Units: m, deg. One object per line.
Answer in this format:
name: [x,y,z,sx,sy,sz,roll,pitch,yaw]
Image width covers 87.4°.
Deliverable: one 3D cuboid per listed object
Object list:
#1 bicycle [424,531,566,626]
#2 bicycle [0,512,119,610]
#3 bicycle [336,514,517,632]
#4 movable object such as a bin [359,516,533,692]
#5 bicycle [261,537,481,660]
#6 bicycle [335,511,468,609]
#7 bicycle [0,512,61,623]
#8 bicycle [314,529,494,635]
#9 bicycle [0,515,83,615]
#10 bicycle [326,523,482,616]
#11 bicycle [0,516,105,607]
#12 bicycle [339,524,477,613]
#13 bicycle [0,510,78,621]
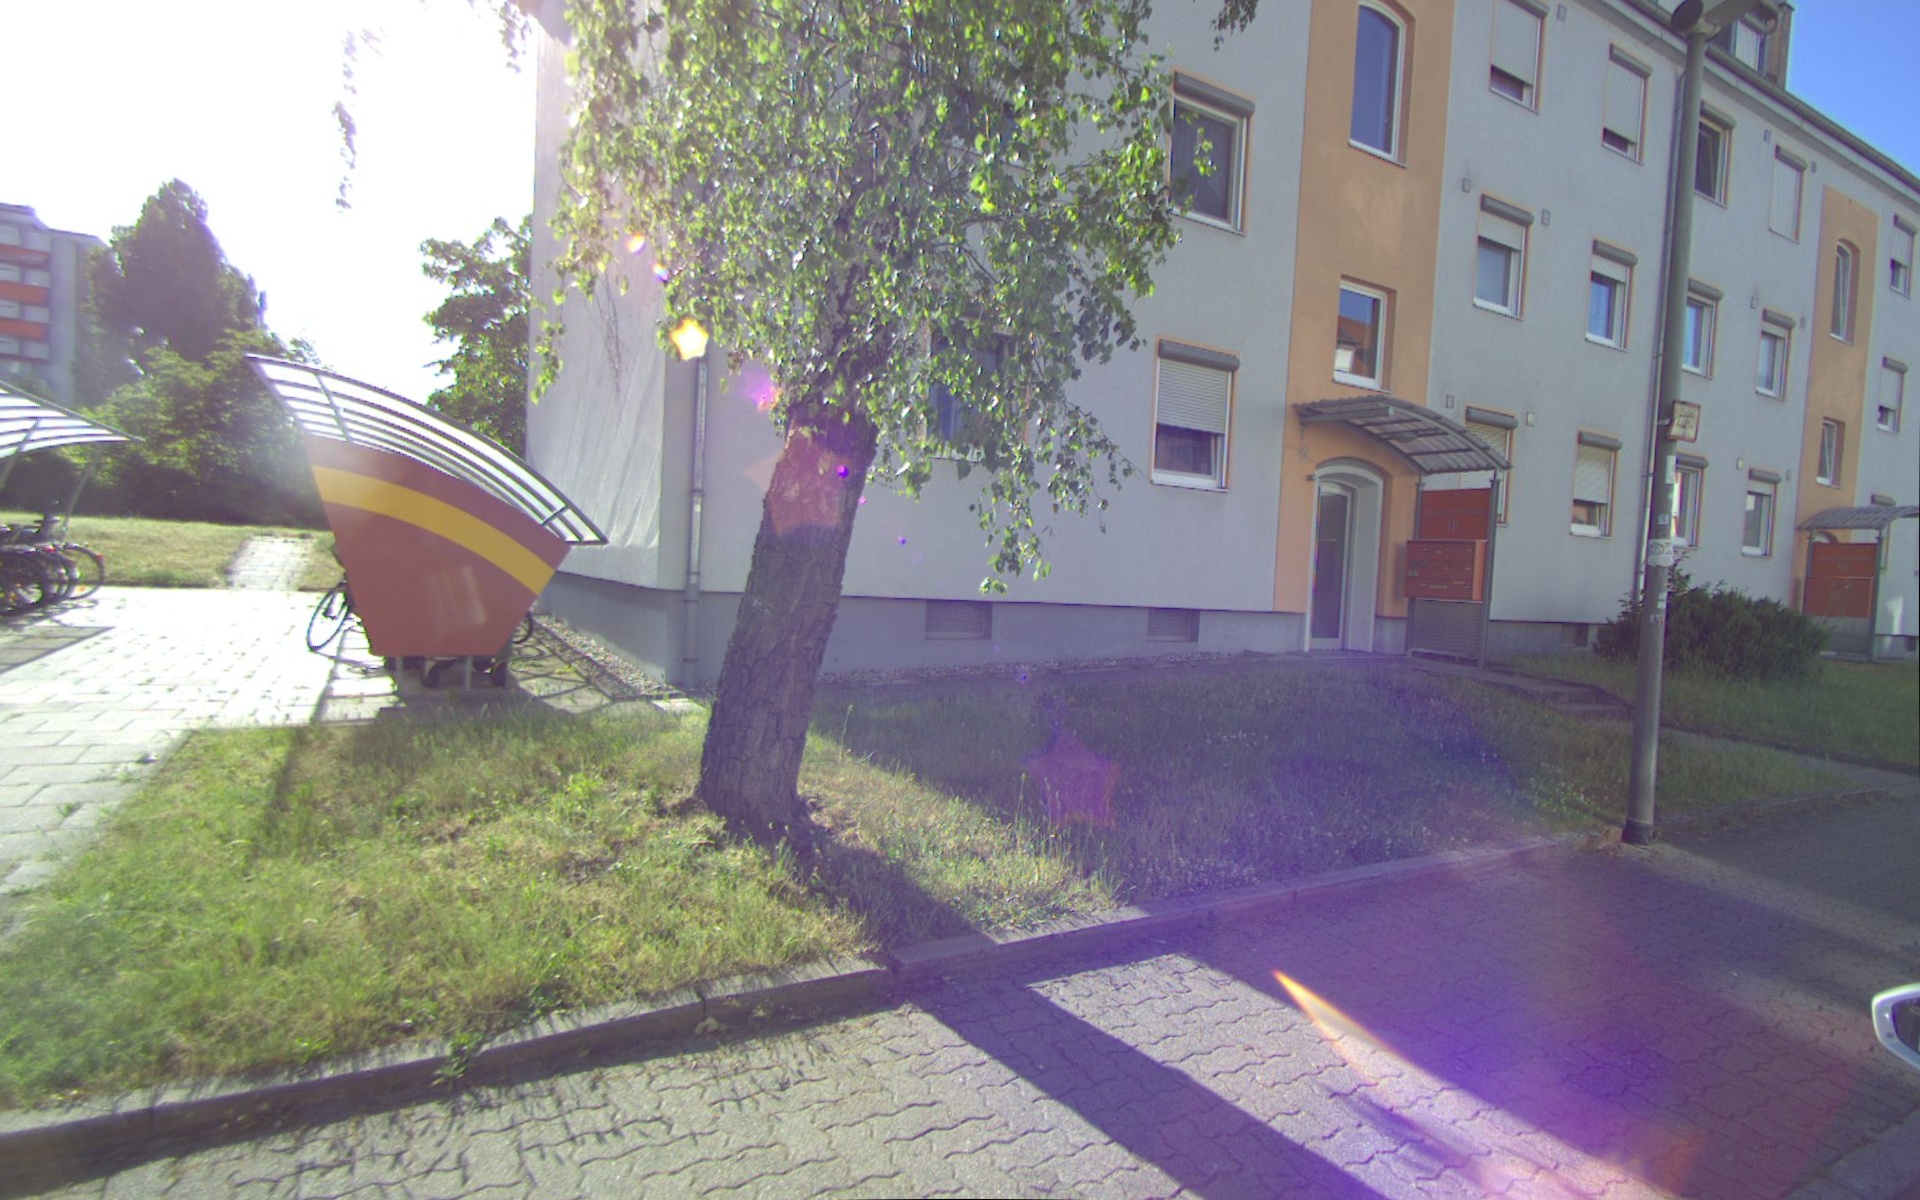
bicycle: [-6.523,-0.278,14.126,1.769,1.252,0.466,1,0,-31]
bicycle: [-11.475,-0.478,12.306,1.702,1.156,0.524,1,0,-31]
bicycle: [-6.825,-0.316,12.904,1.990,1.416,0.614,1,0,-31]
movable object such as a bin: [-4.420,-0.005,8.613,1.214,1.354,1.380,1,4,-30]
bicycle: [-5.794,-0.006,9.970,1.828,1.132,0.529,1,3,-31]
bicycle: [-8.525,-0.586,15.373,1.738,1.416,0.463,1,0,-31]
bicycle: [-10.615,-0.355,10.547,1.666,1.159,0.459,1,0,-31]
bicycle: [-6.509,-0.185,11.829,1.815,1.169,0.427,1,0,-31]
bicycle: [-11.161,-0.410,11.589,1.509,1.142,0.403,1,0,-31]
bicycle: [-7.994,-0.409,14.492,1.922,1.252,0.524,1,0,-31]
bicycle: [-12.096,-0.493,12.828,1.702,1.119,0.524,1,1,-31]
bicycle: [-8.203,-0.448,14.971,1.750,1.235,0.499,1,0,-31]
bicycle: [-10.889,-0.392,11.048,1.715,1.207,0.452,1,0,-31]
